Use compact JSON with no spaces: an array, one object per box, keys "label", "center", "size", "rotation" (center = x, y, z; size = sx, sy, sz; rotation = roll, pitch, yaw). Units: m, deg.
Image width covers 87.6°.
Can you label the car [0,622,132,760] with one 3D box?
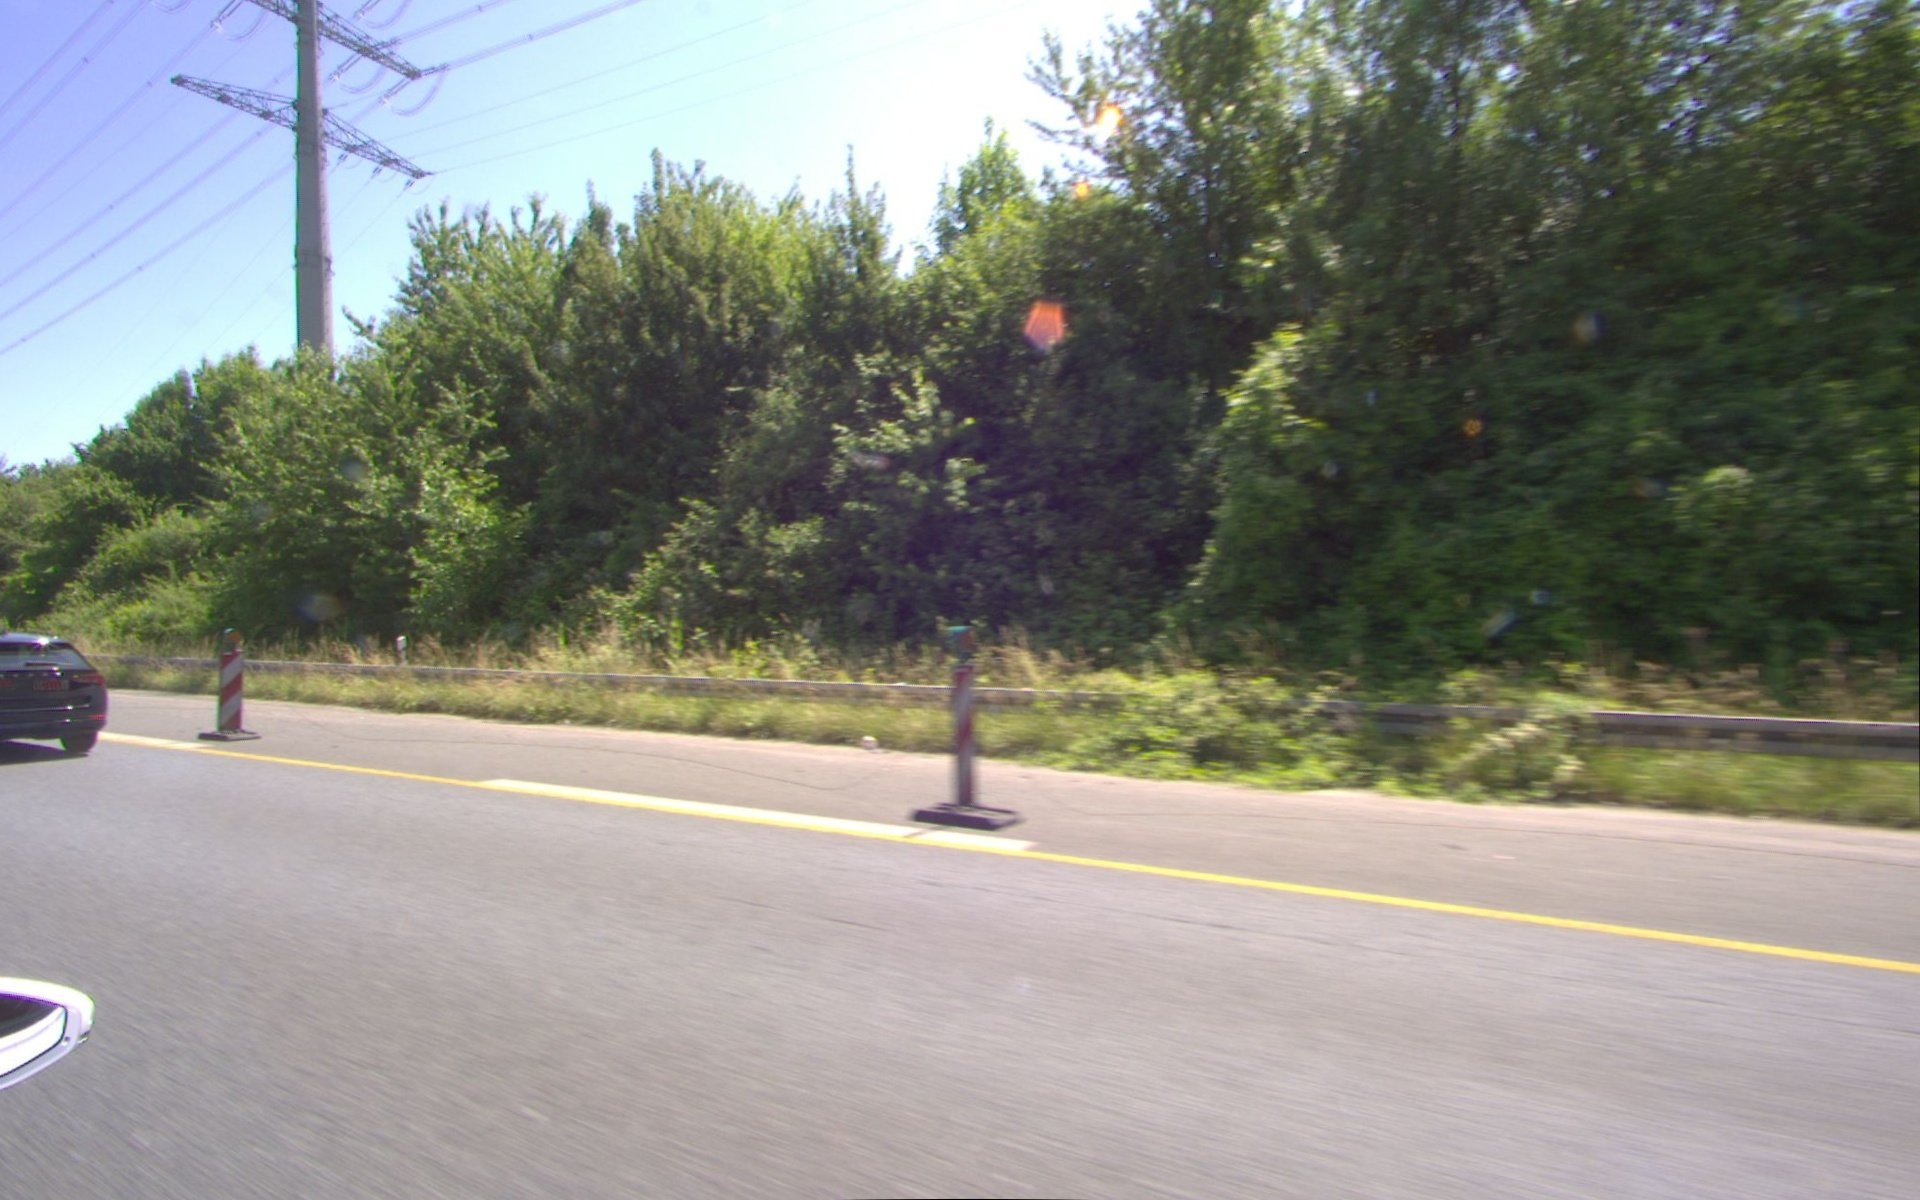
[{"label":"car","center":[-12.258,1.034,12.362],"size":[4.398,1.508,1.777],"rotation":[-1,-2,31]}]
